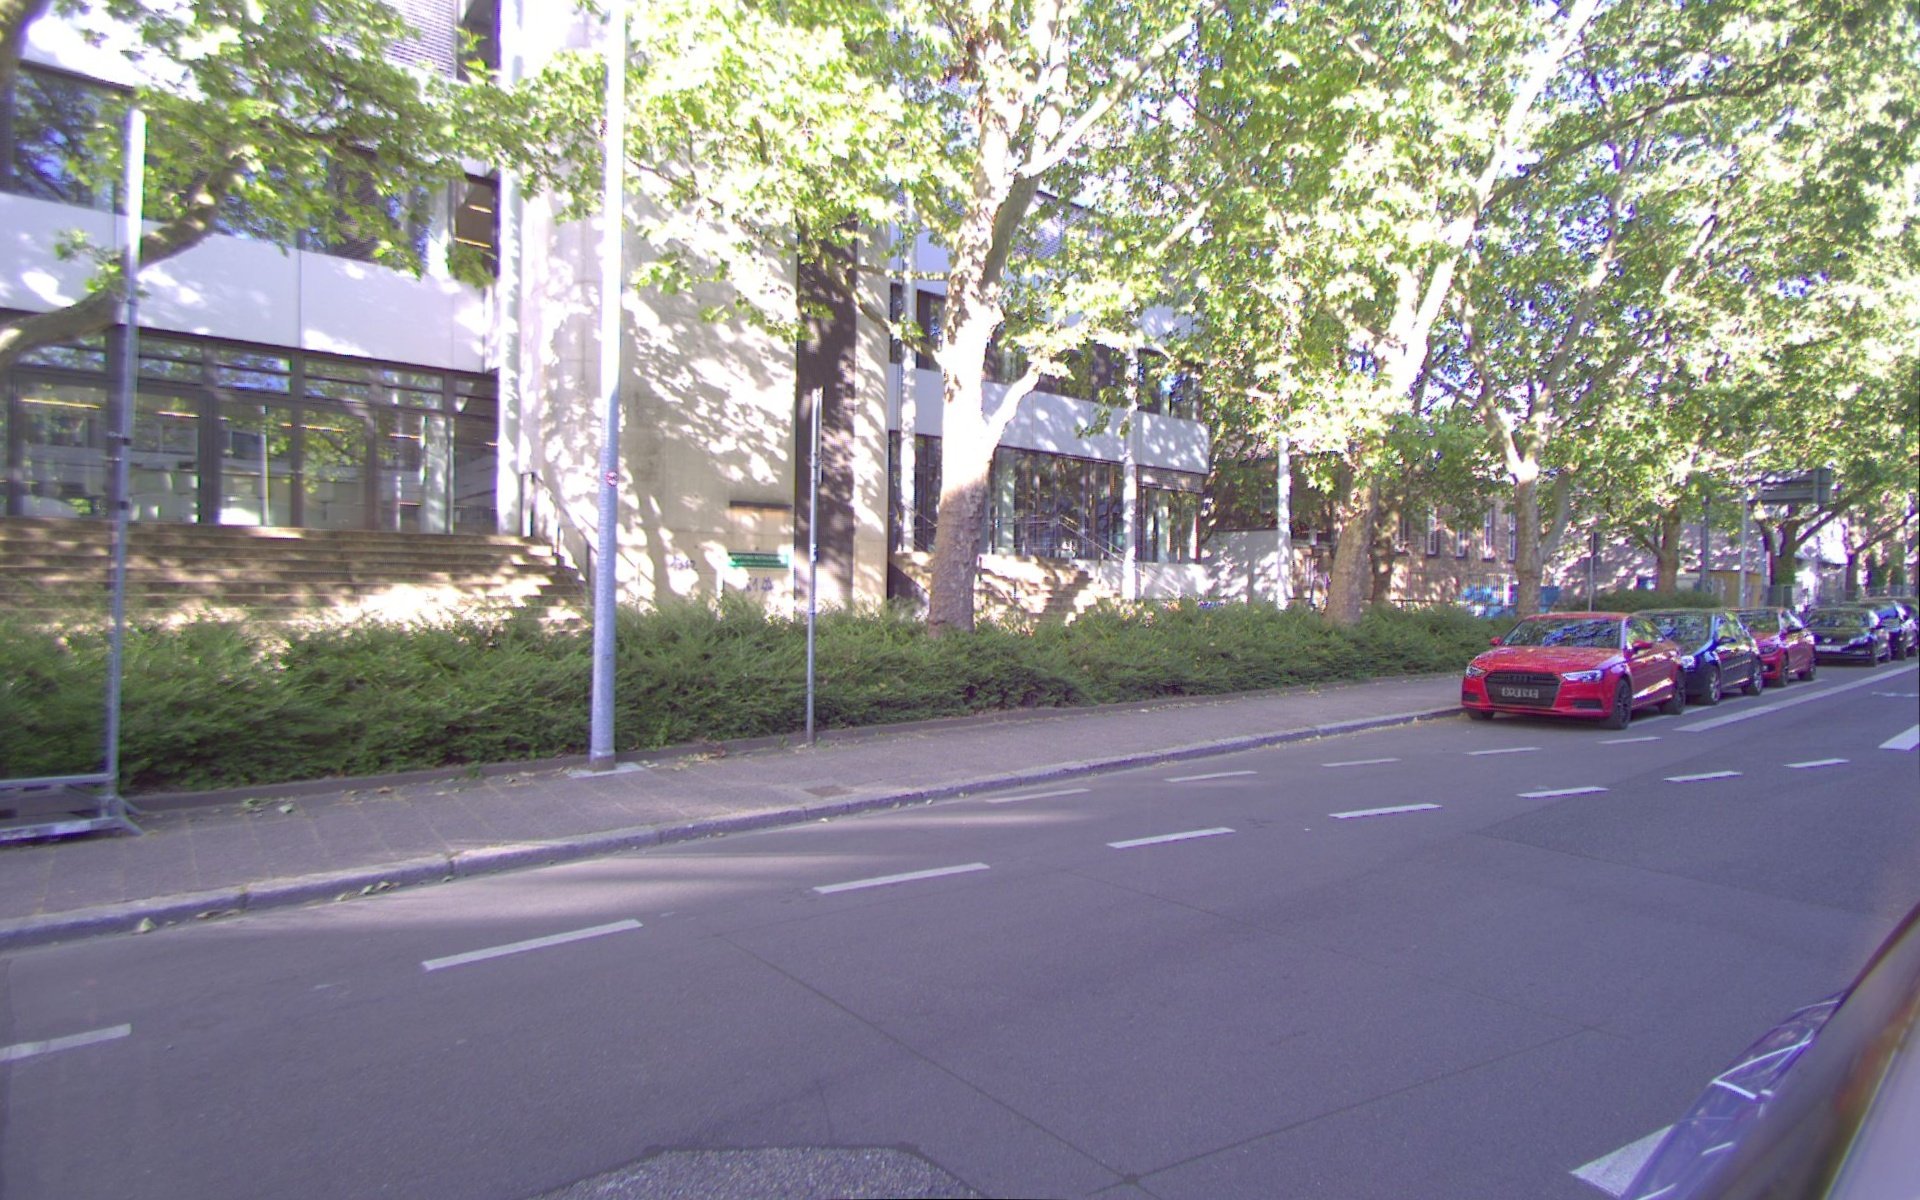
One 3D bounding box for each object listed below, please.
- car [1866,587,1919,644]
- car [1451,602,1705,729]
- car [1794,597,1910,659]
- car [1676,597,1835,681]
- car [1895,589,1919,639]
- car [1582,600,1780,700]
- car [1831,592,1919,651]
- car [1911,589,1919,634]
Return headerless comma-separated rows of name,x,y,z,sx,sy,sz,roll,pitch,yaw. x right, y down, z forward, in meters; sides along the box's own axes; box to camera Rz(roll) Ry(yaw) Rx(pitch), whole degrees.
car,31.054,0.484,33.012,4.271,1.777,1.788,0,-1,-42
car,8.357,0.750,13.545,4.092,1.431,1.815,0,-1,-42
car,23.048,0.675,26.098,4.092,1.478,1.788,0,-1,-42
car,15.856,0.697,20.105,4.092,1.502,1.815,0,-1,-42
car,35.907,0.478,37.248,4.475,1.777,1.788,0,-1,-42
car,11.951,0.735,16.685,4.092,1.431,1.815,0,-1,-42
car,26.594,0.584,29.130,4.092,1.573,1.788,0,-1,-42
car,39.625,0.433,40.398,4.475,1.777,2.040,0,-1,-42
